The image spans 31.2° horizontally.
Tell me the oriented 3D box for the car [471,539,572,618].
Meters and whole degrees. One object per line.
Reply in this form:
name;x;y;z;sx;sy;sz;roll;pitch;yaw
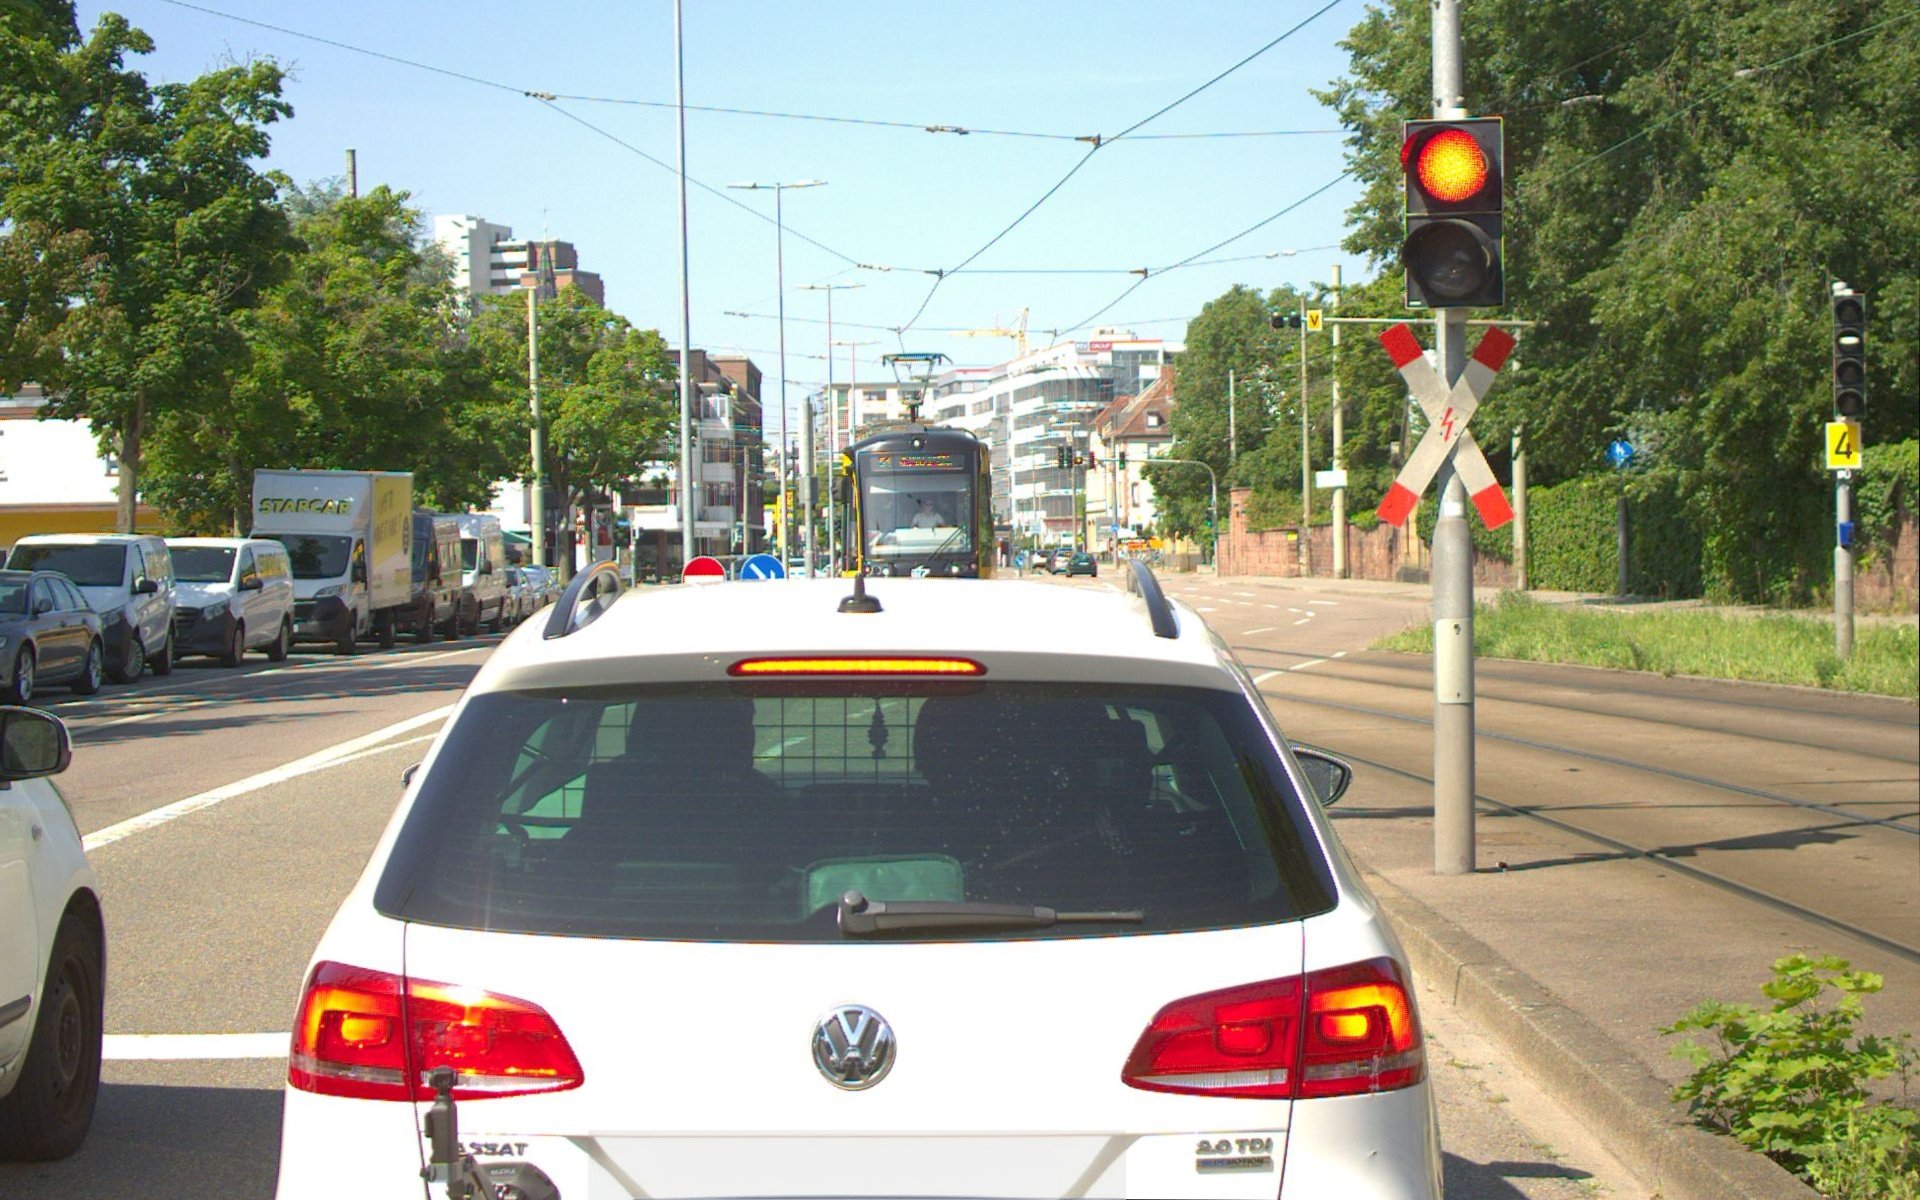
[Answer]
car;-10.792;-0.565;84.864;1.863;1.861;5.414;1;1;-1

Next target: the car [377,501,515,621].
car;-11.265;-0.886;75.749;2.123;2.508;5.733;1;1;0

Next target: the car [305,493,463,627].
car;-11.379;-0.816;68.313;2.123;2.508;5.733;1;1;0

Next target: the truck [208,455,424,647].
truck;-11.183;-0.873;60.311;2.421;3.139;6.997;1;1;0

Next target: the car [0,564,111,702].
car;-11.011;0.322;38.776;1.863;1.411;4.280;1;1;-1

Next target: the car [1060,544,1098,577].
car;6.887;-2.295;199.892;1.863;1.861;5.062;1;1;-1

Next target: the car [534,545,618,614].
car;-10.969;-0.609;98.597;1.863;1.861;5.414;1;1;-1

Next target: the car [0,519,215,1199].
car;-2.937;0.599;7.367;1.662;1.542;4.547;0;1;0

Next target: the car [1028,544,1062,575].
car;5.284;-2.532;214.461;1.863;1.861;5.062;1;1;-1

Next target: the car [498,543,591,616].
car;-11.045;-0.574;91.680;1.863;1.861;5.414;1;1;-1

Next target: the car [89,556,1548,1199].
car;-0.184;0.668;6.202;1.762;1.425;4.000;-1;1;-1

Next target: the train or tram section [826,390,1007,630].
train or tram section;-0.784;-1.587;62.153;2.870;3.842;12.392;-1;1;-1

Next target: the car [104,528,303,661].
car;-11.341;-0.129;51.898;1.863;1.861;5.414;1;1;-1

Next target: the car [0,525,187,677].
car;-11.463;-0.034;45.310;1.863;1.861;5.075;1;1;-6
